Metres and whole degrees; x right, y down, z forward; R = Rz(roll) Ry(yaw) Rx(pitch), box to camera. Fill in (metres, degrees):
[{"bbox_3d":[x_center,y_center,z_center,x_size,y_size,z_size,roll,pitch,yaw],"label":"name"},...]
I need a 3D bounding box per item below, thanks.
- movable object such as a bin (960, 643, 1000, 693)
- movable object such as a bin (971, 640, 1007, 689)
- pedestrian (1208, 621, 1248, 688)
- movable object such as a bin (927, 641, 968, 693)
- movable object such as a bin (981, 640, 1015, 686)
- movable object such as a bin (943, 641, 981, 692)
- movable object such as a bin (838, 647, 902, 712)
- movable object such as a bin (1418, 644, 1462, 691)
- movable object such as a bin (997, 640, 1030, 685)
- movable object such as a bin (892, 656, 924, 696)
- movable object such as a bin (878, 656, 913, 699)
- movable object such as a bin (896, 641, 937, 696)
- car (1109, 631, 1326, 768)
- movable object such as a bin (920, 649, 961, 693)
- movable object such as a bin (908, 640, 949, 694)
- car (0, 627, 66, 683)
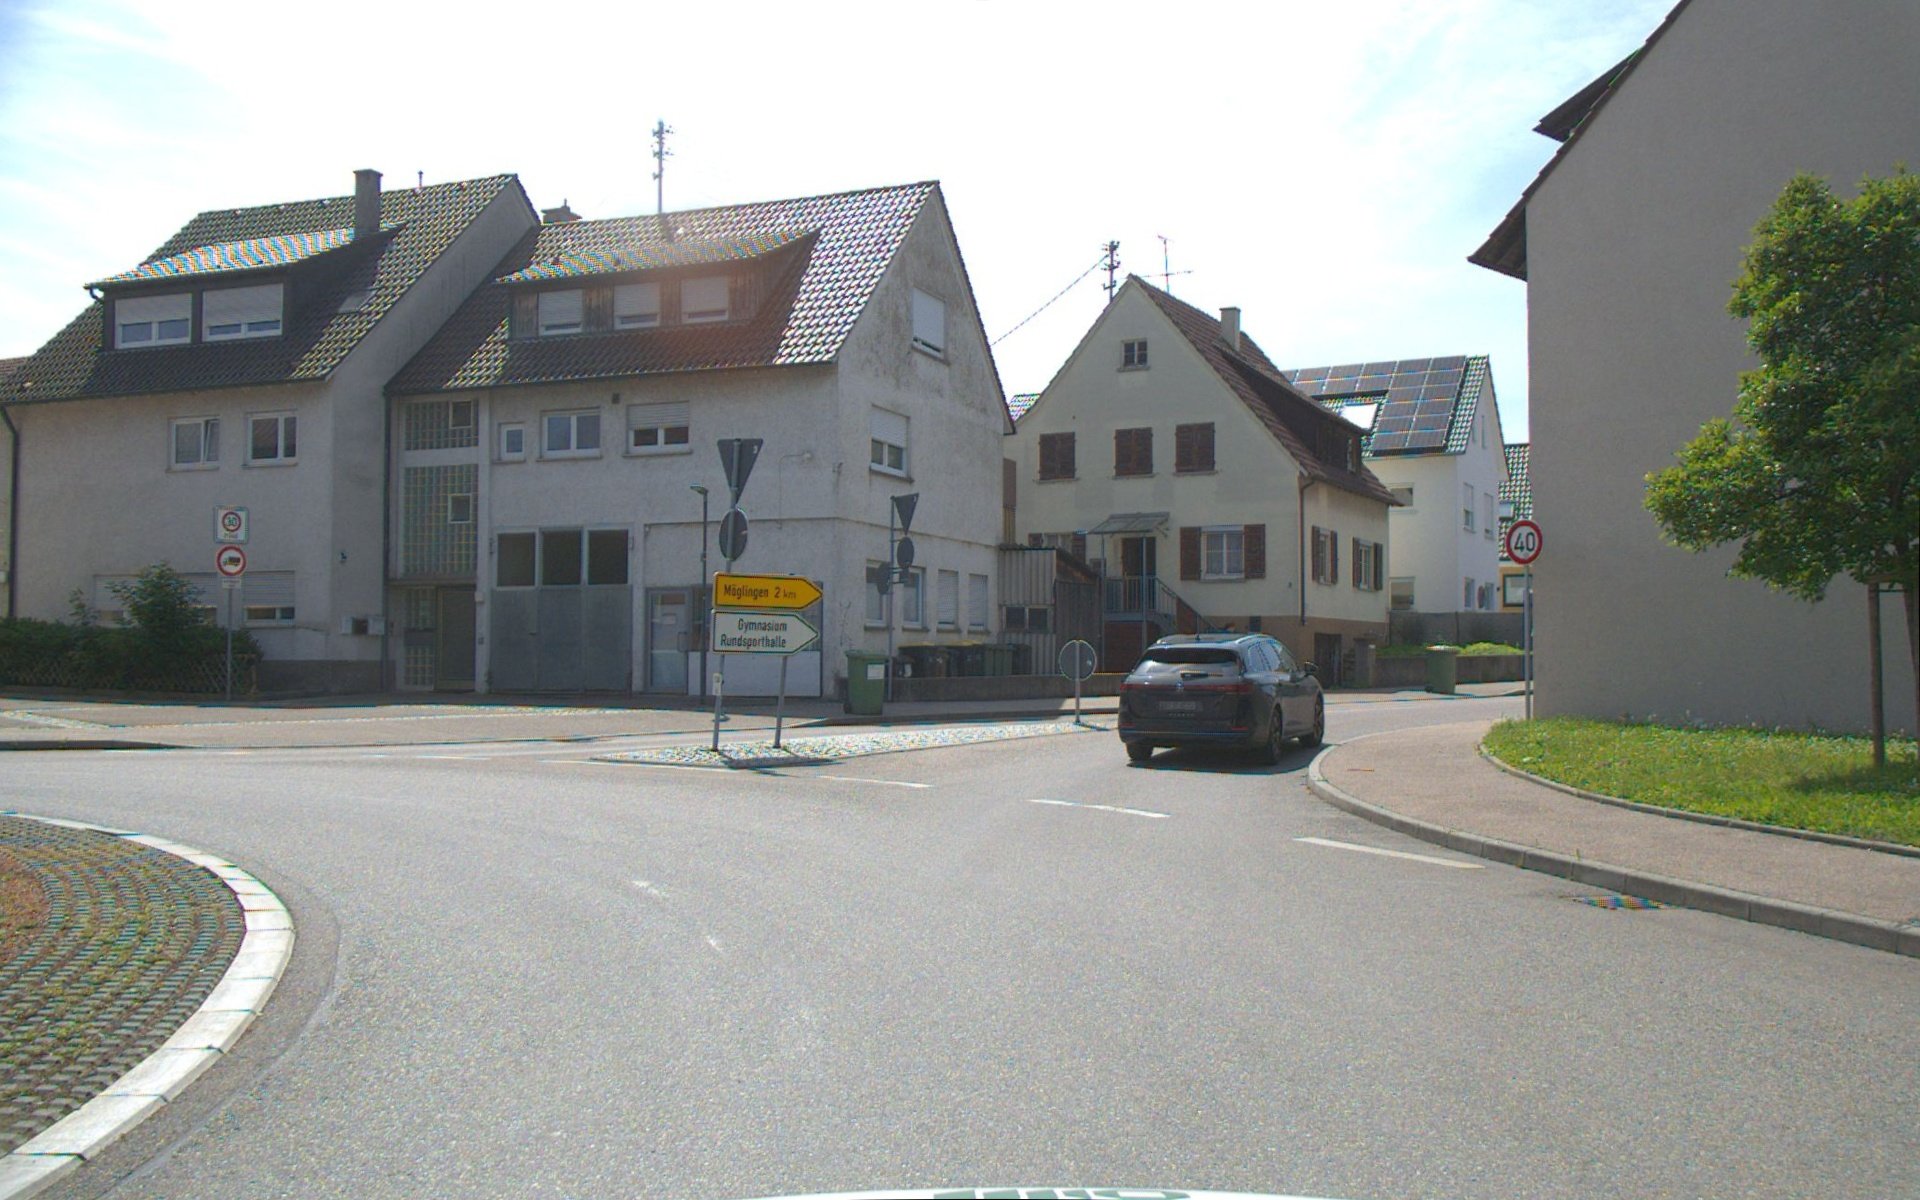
[{"bbox_3d":[0.447,1.517,37.144,0.723,1.101,0.660,0,-1,20],"label":"movable object such as a bin"},{"bbox_3d":[0.674,1.479,37.879,0.664,1.101,0.584,0,-1,20],"label":"movable object such as a bin"},{"bbox_3d":[6.485,1.310,40.019,0.764,1.602,0.625,-1,-1,38],"label":"pedestrian"},{"bbox_3d":[-0.267,1.442,35.648,0.668,1.101,0.698,0,-1,20],"label":"movable object such as a bin"},{"bbox_3d":[0.883,1.460,38.442,0.614,1.053,0.604,0,-1,20],"label":"movable object such as a bin"},{"bbox_3d":[0.040,1.456,36.310,0.668,1.101,0.626,0,-1,20],"label":"movable object such as a bin"},{"bbox_3d":[-1.529,1.335,28.041,0.817,1.063,0.802,1,-1,-33],"label":"movable object such as a bin"},{"bbox_3d":[11.171,1.561,38.505,0.780,1.076,0.647,-2,-2,43],"label":"movable object such as a bin"},{"bbox_3d":[1.259,1.468,38.961,0.615,1.052,0.613,0,-1,20],"label":"movable object such as a bin"},{"bbox_3d":[-1.053,1.526,33.359,0.475,0.794,0.527,0,-1,20],"label":"movable object such as a bin"},{"bbox_3d":[-1.271,1.536,32.813,0.475,0.819,0.646,0,-1,22],"label":"movable object such as a bin"},{"bbox_3d":[-0.890,1.393,33.960,0.668,1.105,0.645,0,-1,20],"label":"movable object such as a bin"},{"bbox_3d":[3.306,1.120,20.427,1.803,1.445,4.683,0,-1,20],"label":"car"},{"bbox_3d":[-0.411,1.501,35.284,0.668,0.912,0.698,0,-1,20],"label":"movable object such as a bin"},{"bbox_3d":[-0.655,1.391,34.616,0.668,1.105,0.698,0,-1,20],"label":"movable object such as a bin"},{"bbox_3d":[-22.817,1.273,38.441,1.458,1.273,3.407,0,-1,24],"label":"car"}]
